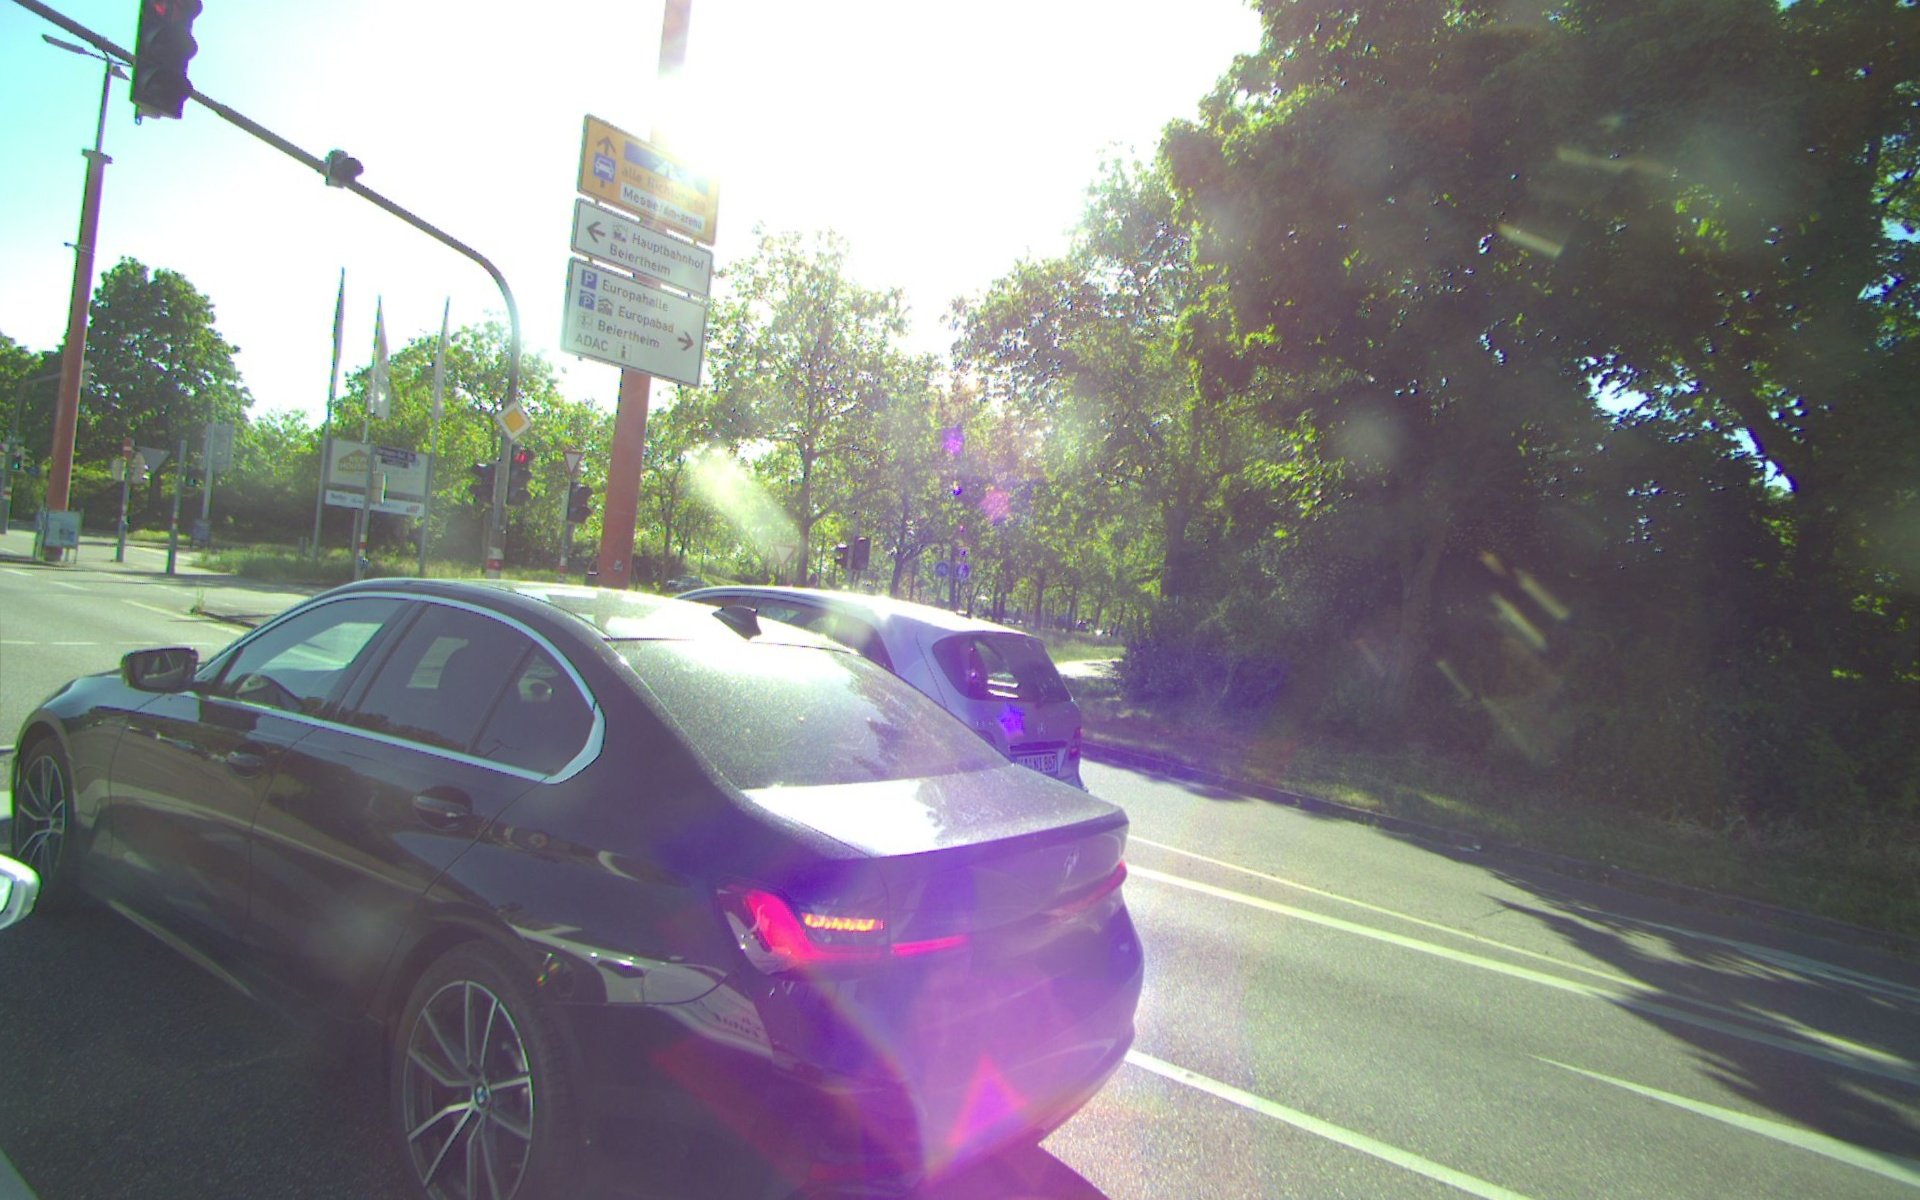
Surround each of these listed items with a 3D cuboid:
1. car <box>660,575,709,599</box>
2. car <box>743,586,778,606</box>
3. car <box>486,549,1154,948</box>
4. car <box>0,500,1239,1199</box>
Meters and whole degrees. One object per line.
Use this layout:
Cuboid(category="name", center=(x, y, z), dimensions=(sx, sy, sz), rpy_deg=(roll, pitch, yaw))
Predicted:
Cuboid(category="car", center=(-22.655, -1.031, 82.937), dimensions=(1.751, 1.503, 4.332), rpy_deg=(7, -1, 16))
Cuboid(category="car", center=(-19.183, -0.372, 96.787), dimensions=(1.652, 1.485, 3.997), rpy_deg=(7, -1, 14))
Cuboid(category="car", center=(-1.016, 0.706, 6.489), dimensions=(3.963, 1.597, 1.741), rpy_deg=(7, 0, 33))
Cuboid(category="car", center=(-1.528, 0.598, 3.528), dimensions=(4.371, 1.415, 1.871), rpy_deg=(7, 0, 33))
